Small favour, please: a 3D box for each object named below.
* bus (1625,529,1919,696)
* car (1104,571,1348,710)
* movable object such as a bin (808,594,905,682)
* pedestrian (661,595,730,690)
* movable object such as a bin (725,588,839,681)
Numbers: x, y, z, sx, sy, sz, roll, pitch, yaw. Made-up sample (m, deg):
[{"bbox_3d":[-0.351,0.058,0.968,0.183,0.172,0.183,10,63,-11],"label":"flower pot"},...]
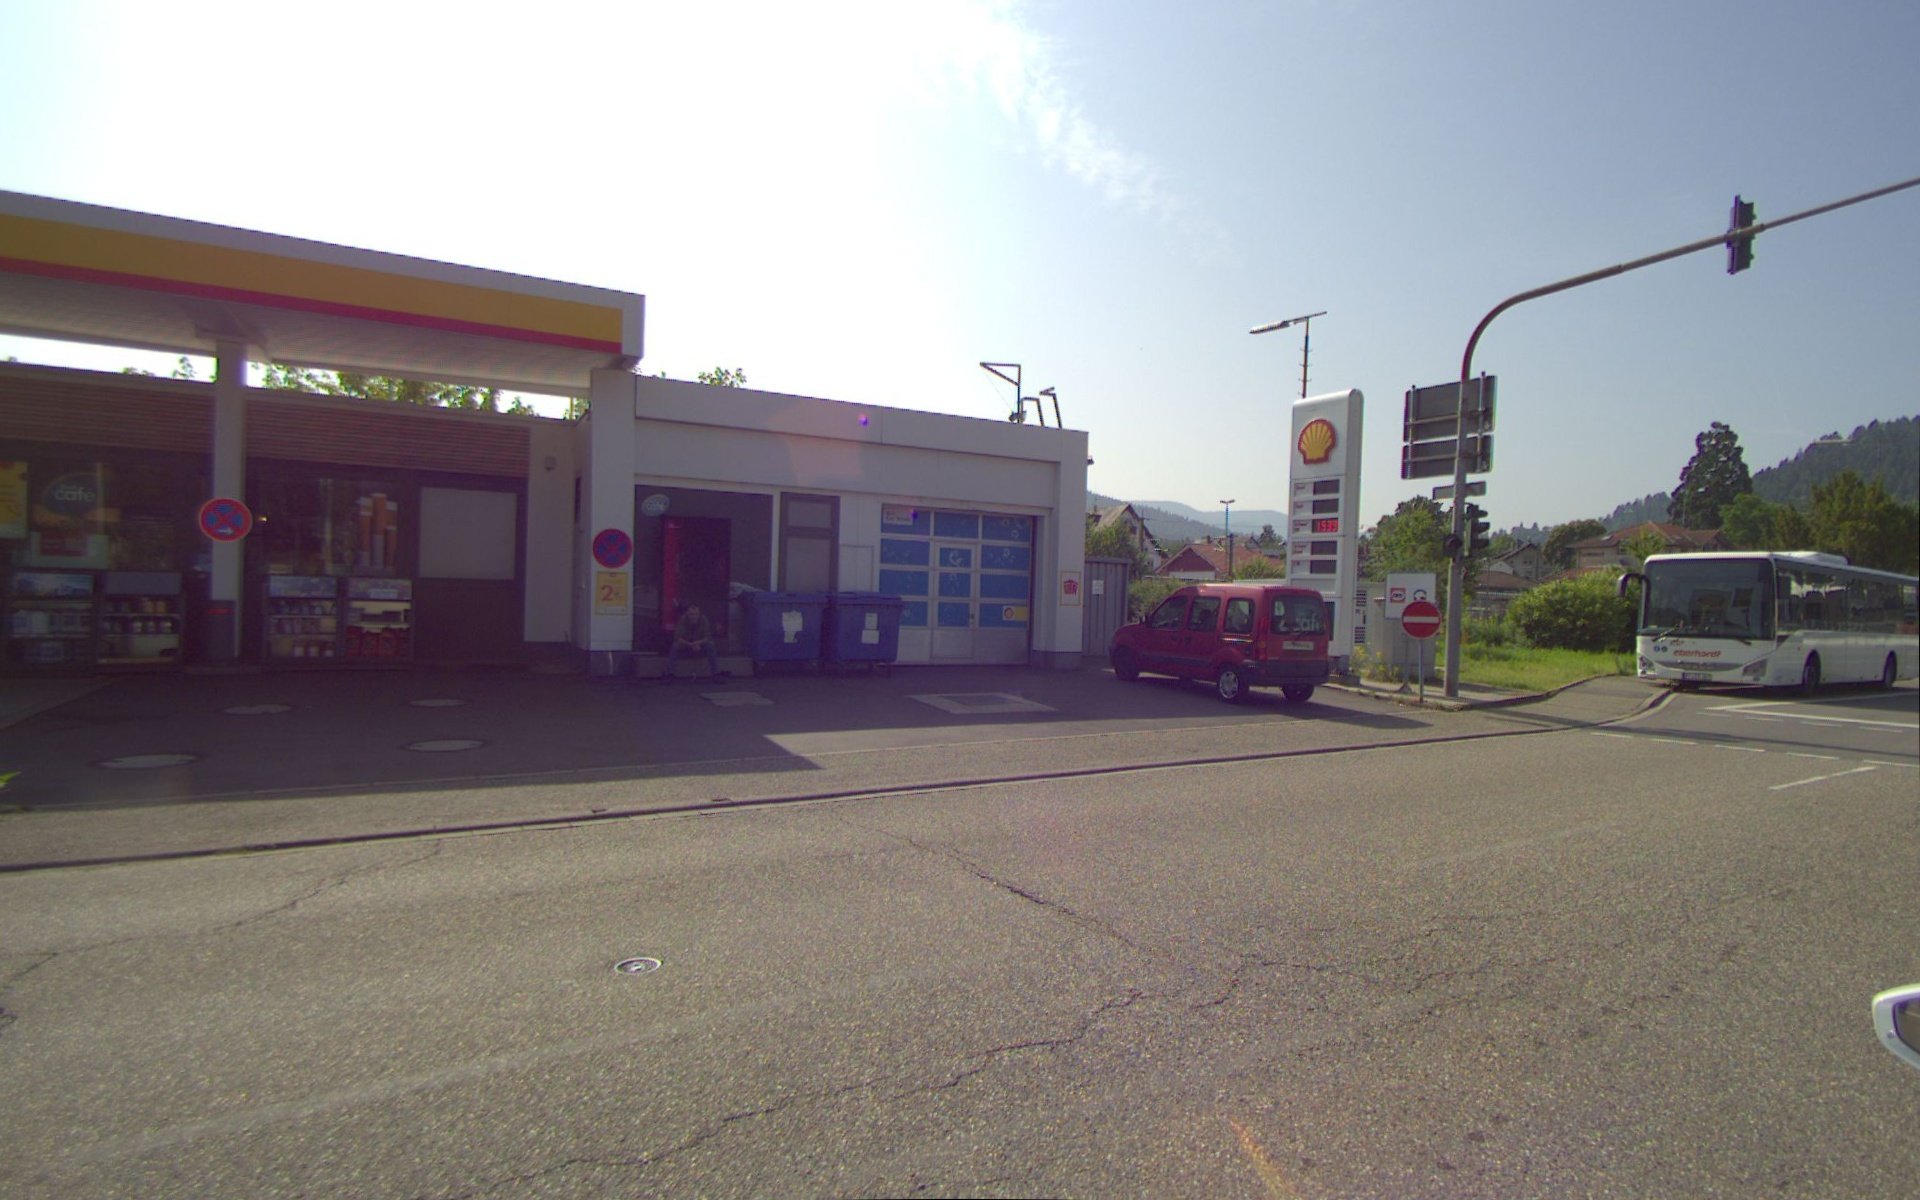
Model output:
[{"bbox_3d":[20.372,0.400,24.599,11.836,3.354,2.604,2,0,-35],"label":"bus"},{"bbox_3d":[4.188,0.558,16.427,1.681,1.820,3.759,1,4,-28],"label":"car"},{"bbox_3d":[-1.691,0.595,16.239,1.153,1.259,1.236,2,4,-27],"label":"movable object such as a bin"},{"bbox_3d":[-3.838,0.603,14.556,0.806,1.313,0.612,1,2,-29],"label":"pedestrian"},{"bbox_3d":[-2.811,0.529,15.781,1.416,1.307,1.236,2,4,-27],"label":"movable object such as a bin"}]
